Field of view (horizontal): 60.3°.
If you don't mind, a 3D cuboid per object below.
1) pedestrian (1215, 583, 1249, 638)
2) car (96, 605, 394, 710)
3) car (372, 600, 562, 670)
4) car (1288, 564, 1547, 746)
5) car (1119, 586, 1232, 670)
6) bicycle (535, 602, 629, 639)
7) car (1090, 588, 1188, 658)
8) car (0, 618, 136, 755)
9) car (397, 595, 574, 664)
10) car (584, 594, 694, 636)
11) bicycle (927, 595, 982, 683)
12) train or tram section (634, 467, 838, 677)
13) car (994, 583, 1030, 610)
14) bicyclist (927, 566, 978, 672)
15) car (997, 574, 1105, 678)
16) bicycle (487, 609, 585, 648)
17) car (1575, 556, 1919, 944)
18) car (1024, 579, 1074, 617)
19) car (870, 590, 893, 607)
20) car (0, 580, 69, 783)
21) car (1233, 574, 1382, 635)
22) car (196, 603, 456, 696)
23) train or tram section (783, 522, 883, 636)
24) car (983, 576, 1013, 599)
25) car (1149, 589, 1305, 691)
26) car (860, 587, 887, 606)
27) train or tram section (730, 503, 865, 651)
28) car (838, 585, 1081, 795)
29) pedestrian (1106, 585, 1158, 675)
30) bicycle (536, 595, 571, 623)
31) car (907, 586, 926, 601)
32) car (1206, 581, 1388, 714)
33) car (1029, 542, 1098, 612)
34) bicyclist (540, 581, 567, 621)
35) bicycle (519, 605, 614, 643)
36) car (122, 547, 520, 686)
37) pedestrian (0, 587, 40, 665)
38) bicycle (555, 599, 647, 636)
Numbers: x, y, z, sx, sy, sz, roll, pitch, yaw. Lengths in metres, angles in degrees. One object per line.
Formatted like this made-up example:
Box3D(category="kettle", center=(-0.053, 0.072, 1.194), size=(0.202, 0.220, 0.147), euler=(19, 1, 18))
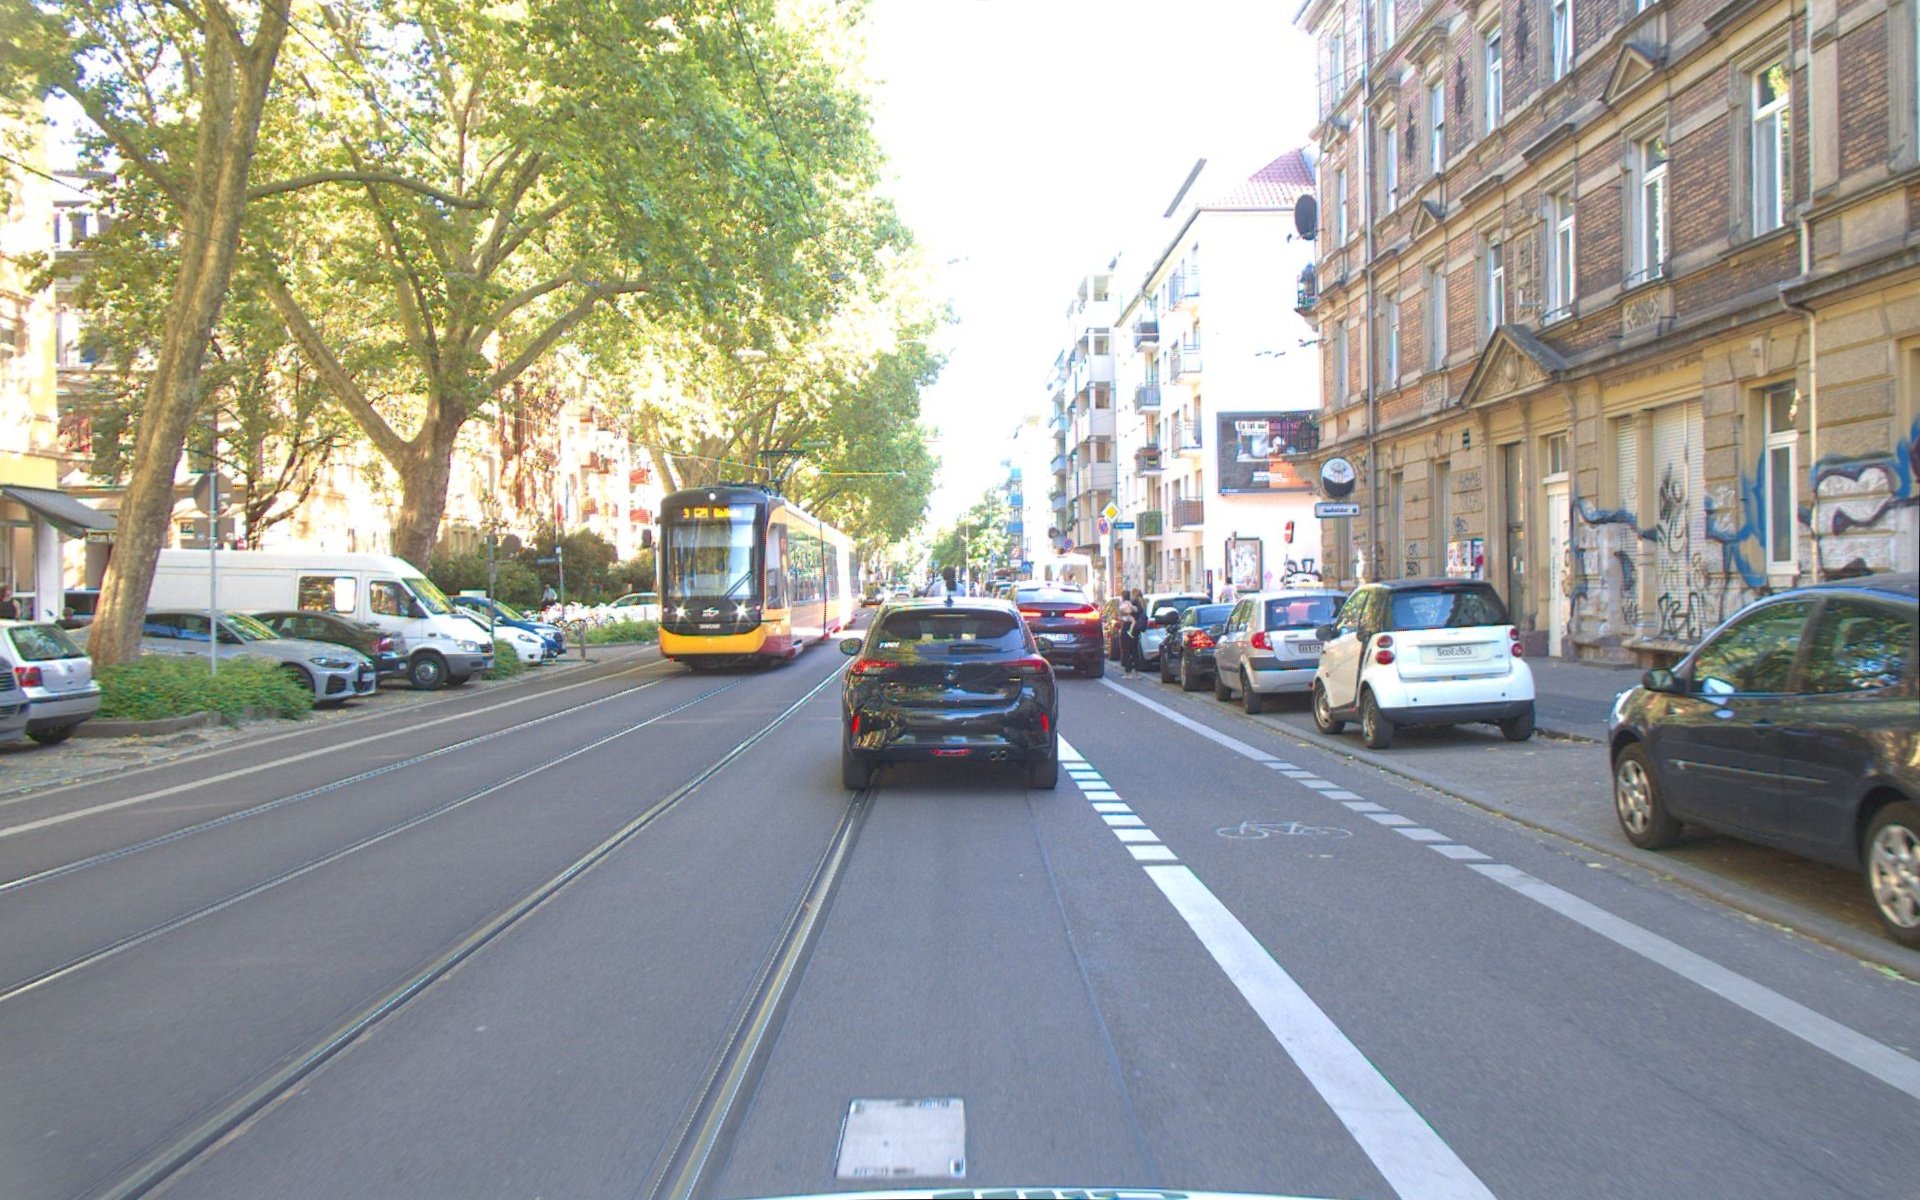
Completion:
Box3D(category="pedestrian", center=(8.030, 0.308, 48.809), size=(0.849, 1.594, 0.768), euler=(-1, 0, -3))
Box3D(category="car", center=(-10.944, 0.856, 25.495), size=(3.839, 1.524, 1.677), euler=(1, 0, 0))
Box3D(category="car", center=(-11.213, 0.781, 37.810), size=(3.842, 1.524, 1.676), euler=(1, 0, -4))
Box3D(category="car", center=(4.510, 0.500, 16.722), size=(1.536, 1.543, 3.038), euler=(-4, 0, -3))
Box3D(category="car", center=(4.213, 0.509, 32.859), size=(1.628, 1.444, 3.933), euler=(-4, 0, 0))
Box3D(category="bicycle", center=(-12.480, 0.662, 54.598), size=(2.880, 1.190, 0.991), euler=(0, 0, 16))
Box3D(category="car", center=(4.081, 0.483, 38.260), size=(1.773, 1.403, 3.933), euler=(-4, 0, 0))
Box3D(category="car", center=(-11.606, 0.935, 18.773), size=(3.658, 1.455, 1.637), euler=(1, 0, -1))
Box3D(category="car", center=(-11.499, 0.702, 40.263), size=(3.842, 1.605, 1.676), euler=(1, 0, -4))
Box3D(category="car", center=(-12.020, 0.565, 62.143), size=(3.842, 1.524, 1.676), euler=(1, 0, -4))
Box3D(category="bicycle", center=(-0.122, 0.634, 28.352), size=(0.843, 1.431, 2.523), euler=(-1, 0, -2))
Box3D(category="train or tram section", center=(-4.542, -0.556, 36.486), size=(2.679, 3.746, 12.716), euler=(-2, 0, 0))
Box3D(category="car", center=(2.851, -0.203, 91.440), size=(1.773, 1.361, 3.933), euler=(-4, 0, 0))
Box3D(category="bicyclist", center=(-0.136, 0.319, 28.259), size=(0.831, 1.770, 1.161), euler=(-1, 0, -2))
Box3D(category="car", center=(1.615, 0.430, 30.486), size=(1.773, 1.772, 3.933), euler=(-1, 0, 0))
Box3D(category="bicycle", center=(-13.372, 0.894, 52.215), size=(2.880, 1.190, 0.991), euler=(0, 0, 16))
Box3D(category="car", center=(4.661, 0.575, 8.191), size=(1.676, 1.509, 3.763), euler=(-4, 0, -1))
Box3D(category="car", center=(3.632, -0.095, 68.163), size=(1.773, 1.361, 3.933), euler=(-4, 0, 0))
Box3D(category="car", center=(-7.238, -0.153, 153.015), size=(1.773, 1.361, 3.933), euler=(-4, 0, 0))
Box3D(category="car", center=(-11.498, 0.759, 16.071), size=(4.579, 1.957, 1.980), euler=(1, 0, 0))
Box3D(category="car", center=(10.933, 0.136, 52.269), size=(4.289, 1.829, 1.876), euler=(-1, 0, -2))
Box3D(category="car", center=(-10.867, 0.831, 28.544), size=(3.842, 1.524, 1.676), euler=(1, 0, -4))
Box3D(category="train or tram section", center=(-4.553, -0.745, 61.904), size=(2.679, 3.746, 12.716), euler=(-2, 0, 0))
Box3D(category="car", center=(2.509, -0.856, 109.607), size=(1.773, 1.361, 3.933), euler=(-4, 0, 0))
Box3D(category="car", center=(4.160, 0.582, 26.329), size=(1.773, 1.361, 3.933), euler=(-4, 0, 0))
Box3D(category="car", center=(-6.348, -0.241, 121.617), size=(1.773, 1.361, 3.933), euler=(-1, 0, 0))
Box3D(category="train or tram section", center=(-4.560, -0.636, 49.183), size=(2.679, 3.746, 12.716), euler=(-2, 0, 0))
Box3D(category="car", center=(-0.038, 0.638, 13.800), size=(1.757, 1.466, 3.530), euler=(-1, 1, -1))
Box3D(category="pedestrian", center=(3.077, 0.525, 29.634), size=(0.848, 1.594, 0.768), euler=(-1, 0, 1))
Box3D(category="bicycle", center=(-18.385, 0.389, 74.817), size=(0.967, 1.190, 2.951), euler=(-1, 0, -3))
Box3D(category="car", center=(-4.252, -0.640, 161.778), size=(1.773, 1.361, 3.932), euler=(-1, 0, 0))
Box3D(category="car", center=(4.336, 0.555, 21.772), size=(1.670, 1.481, 3.698), euler=(-4, 0, 2))
Box3D(category="car", center=(3.649, -0.810, 59.352), size=(2.033, 2.257, 4.933), euler=(-4, 0, 0))
Box3D(category="bicyclist", center=(-18.376, 0.023, 74.848), size=(0.967, 1.787, 1.153), euler=(-1, 0, -3))
Box3D(category="bicycle", center=(-12.731, 0.765, 53.552), size=(2.880, 1.190, 0.991), euler=(0, 0, 16))
Box3D(category="car", center=(-11.888, 0.304, 31.162), size=(6.493, 2.451, 2.457), euler=(1, 0, -1))
Box3D(category="pedestrian", center=(-18.682, 0.501, 32.712), size=(0.648, 1.524, 0.627), euler=(1, 0, -11))
Box3D(category="bicycle", center=(-12.059, 0.590, 55.608), size=(2.880, 1.190, 0.991), euler=(0, 0, 16))
